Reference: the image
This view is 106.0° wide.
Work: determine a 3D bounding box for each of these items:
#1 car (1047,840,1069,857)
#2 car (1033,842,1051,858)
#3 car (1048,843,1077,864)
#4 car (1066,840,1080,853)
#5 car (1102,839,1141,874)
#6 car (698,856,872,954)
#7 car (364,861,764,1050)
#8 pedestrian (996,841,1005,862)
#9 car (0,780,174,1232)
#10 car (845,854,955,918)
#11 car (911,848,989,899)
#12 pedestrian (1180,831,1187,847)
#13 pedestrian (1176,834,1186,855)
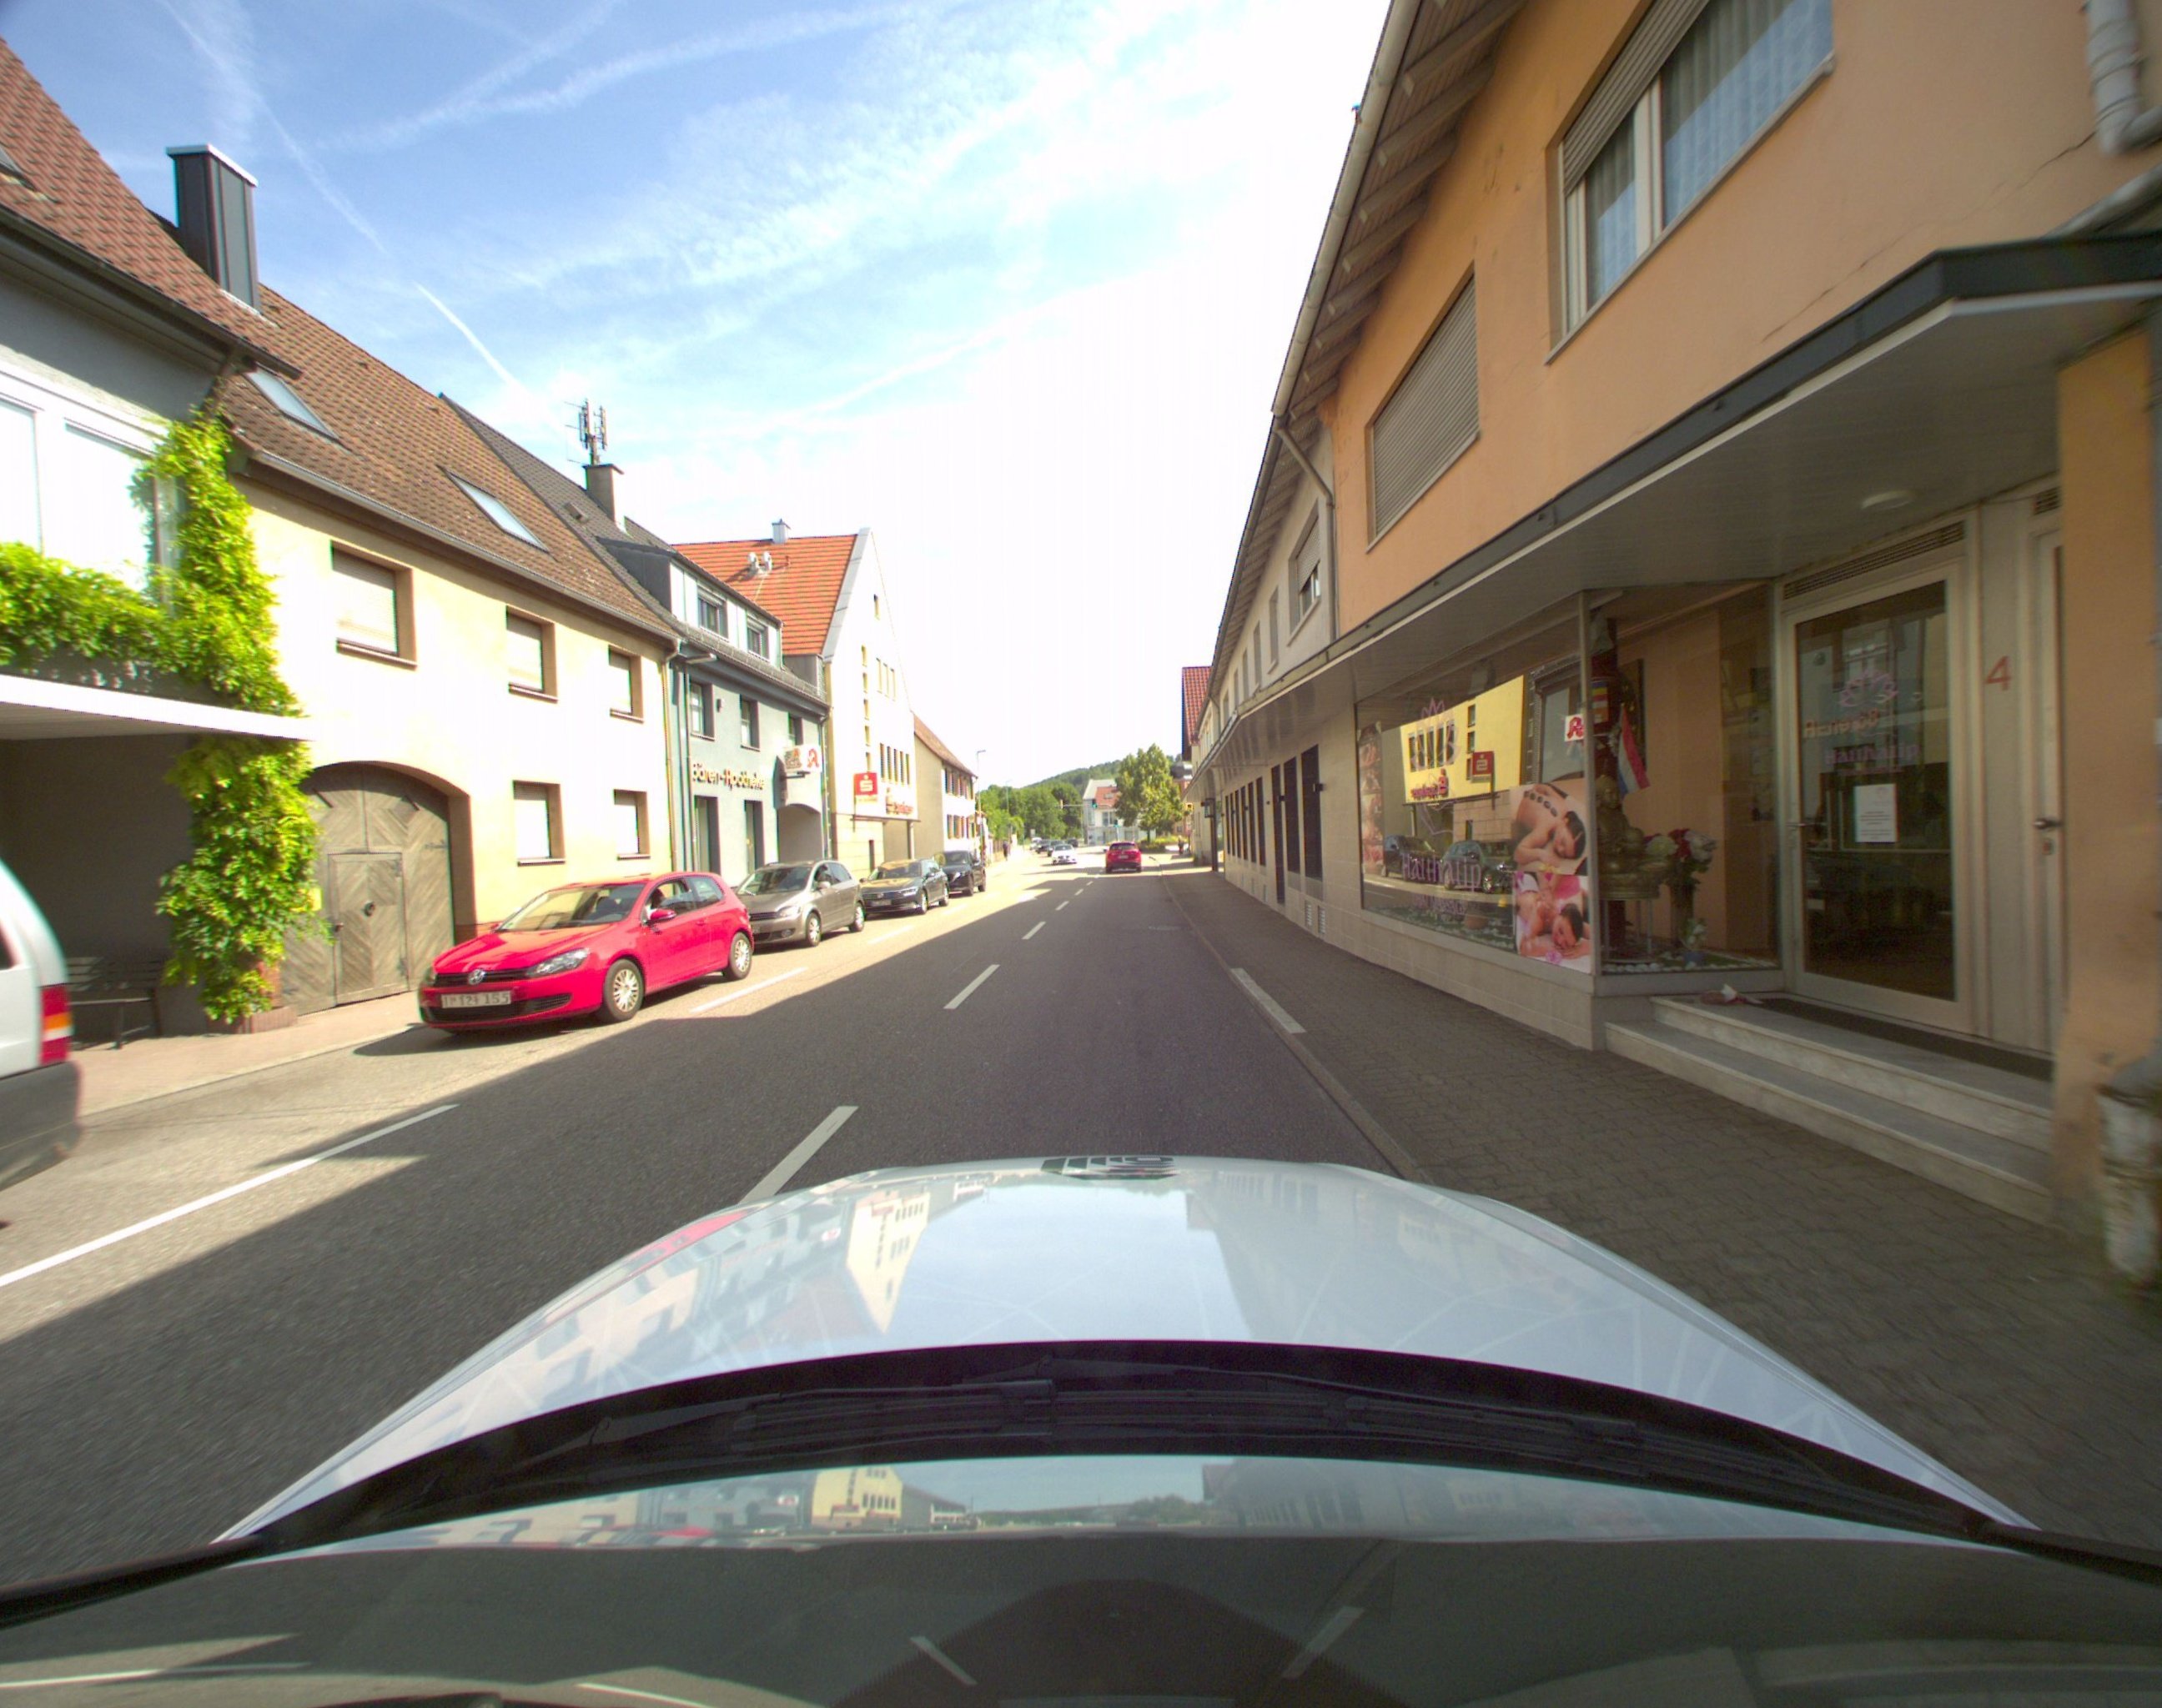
[{"bbox_3d":[-2.289,-0.560,83.237,1.831,1.532,4.257,-3,2,3],"label":"car"},{"bbox_3d":[-4.590,-0.438,96.147,1.768,1.784,3.840,-3,-1,2],"label":"car"},{"bbox_3d":[-1.327,-0.053,61.041,1.981,1.444,5.100,-3,0,0],"label":"car"},{"bbox_3d":[-1.255,-1.156,129.669,1.924,1.794,3.960,-3,-1,4],"label":"car"},{"bbox_3d":[2.189,0.089,42.812,1.850,1.714,4.428,-1,1,5],"label":"car"},{"bbox_3d":[-5.500,0.860,15.695,1.622,1.520,4.022,-4,0,3],"label":"car"},{"bbox_3d":[-5.354,0.913,9.217,1.752,1.492,4.078,-4,0,1],"label":"car"},{"bbox_3d":[-7.067,-0.205,71.631,0.664,1.824,0.798,-3,-2,-3],"label":"pedestrian"},{"bbox_3d":[-5.528,0.709,1.744,1.877,1.890,4.553,-4,0,1],"label":"car"},{"bbox_3d":[-4.836,0.796,22.435,1.781,1.450,4.427,-4,0,3],"label":"car"},{"bbox_3d":[-4.689,0.652,29.843,1.860,1.589,4.521,-4,0,3],"label":"car"},{"bbox_3d":[12.719,-1.864,101.228,0.641,1.879,0.652,-3,-2,-3],"label":"pedestrian"},{"bbox_3d":[8.299,-0.794,67.721,0.641,1.707,0.699,-3,-2,-3],"label":"pedestrian"}]
